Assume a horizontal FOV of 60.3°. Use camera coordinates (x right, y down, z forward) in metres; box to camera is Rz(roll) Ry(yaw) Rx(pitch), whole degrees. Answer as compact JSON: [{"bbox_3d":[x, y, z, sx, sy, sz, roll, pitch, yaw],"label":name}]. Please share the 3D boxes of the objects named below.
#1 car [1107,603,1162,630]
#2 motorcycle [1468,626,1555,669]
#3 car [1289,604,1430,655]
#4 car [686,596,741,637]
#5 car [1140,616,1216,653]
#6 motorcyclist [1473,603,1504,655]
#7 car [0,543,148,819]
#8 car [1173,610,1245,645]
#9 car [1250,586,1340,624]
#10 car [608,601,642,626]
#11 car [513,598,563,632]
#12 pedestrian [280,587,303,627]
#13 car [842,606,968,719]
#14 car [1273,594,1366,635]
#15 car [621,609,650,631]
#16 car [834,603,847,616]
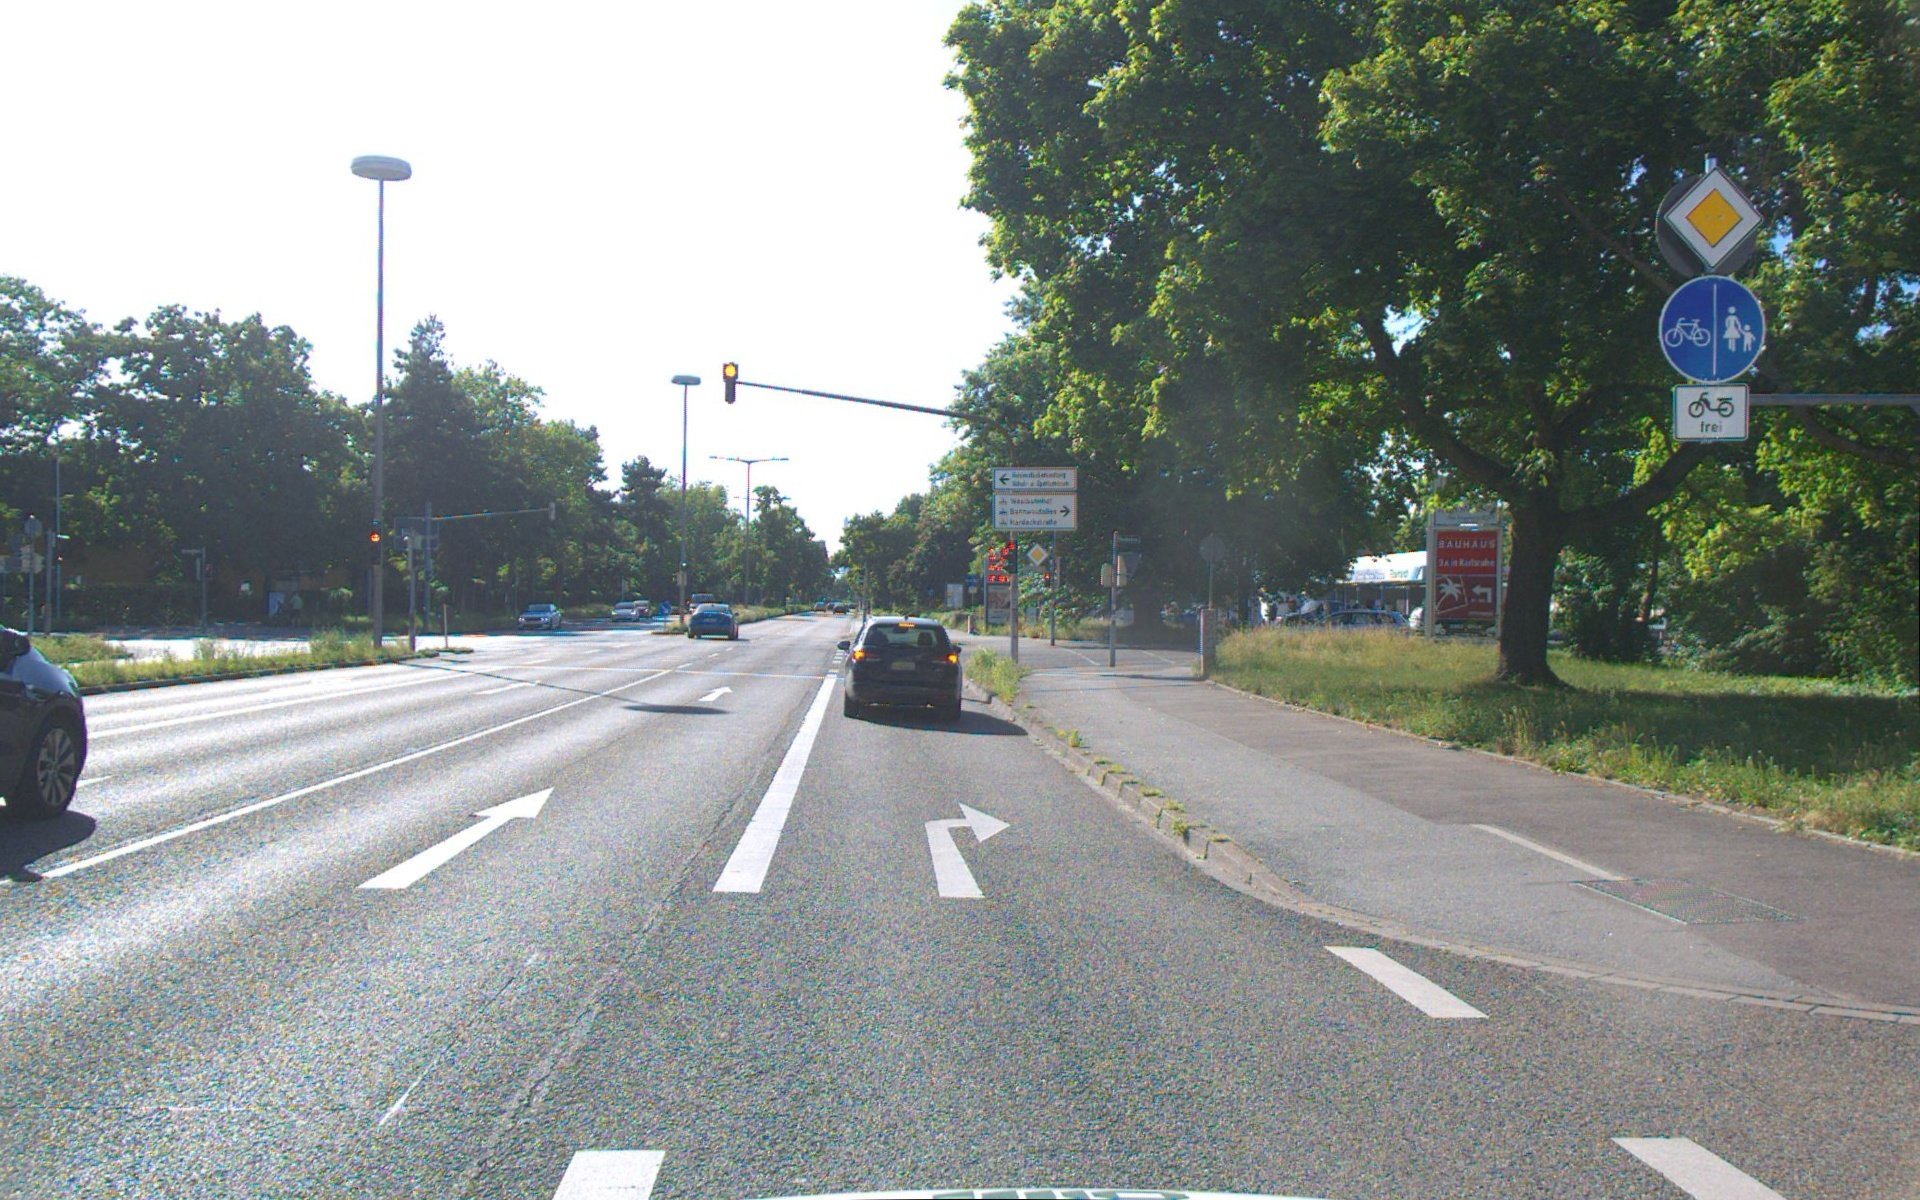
[{"bbox_3d":[12.676,1.186,120.515,3.641,1.714,1.702,4,-2,-6],"label":"car"},{"bbox_3d":[18.756,1.620,56.290,2.667,1.293,0.835,3,-2,13],"label":"motorcycle"},{"bbox_3d":[13.742,1.017,57.096,4.520,1.602,2.001,1,-2,8],"label":"car"},{"bbox_3d":[-10.130,0.720,68.277,1.851,1.579,3.997,2,-2,-4],"label":"car"},{"bbox_3d":[11.541,1.821,87.477,3.672,1.714,1.687,5,-2,-30],"label":"car"},{"bbox_3d":[18.037,0.989,56.474,0.842,1.709,0.835,3,-2,13],"label":"motorcyclist"},{"bbox_3d":[-6.581,0.459,9.644,1.662,1.661,4.414,2,-1,-3],"label":"car"},{"bbox_3d":[14.016,1.573,93.289,3.641,1.714,1.702,4,-2,-6],"label":"car"},{"bbox_3d":[15.862,0.241,78.382,3.784,1.508,1.792,5,-2,-23],"label":"car"},{"bbox_3d":[-25.116,1.018,124.117,1.827,1.713,3.997,4,-2,-3],"label":"car"},{"bbox_3d":[-23.815,0.888,93.417,1.827,1.713,4.257,4,-2,-3],"label":"car"},{"bbox_3d":[-31.558,0.335,78.085,0.828,1.867,0.549,0,-1,0],"label":"pedestrian"},{"bbox_3d":[-0.897,0.908,25.302,1.721,1.535,3.805,2,-1,-4],"label":"car"},{"bbox_3d":[16.609,0.676,76.432,3.784,1.640,1.792,5,-2,-23],"label":"car"},{"bbox_3d":[-27.664,1.734,141.014,1.827,1.713,3.997,4,-2,-3],"label":"car"},{"bbox_3d":[-16.383,1.292,227.343,1.698,1.612,3.837,4,-2,-4],"label":"car"}]
